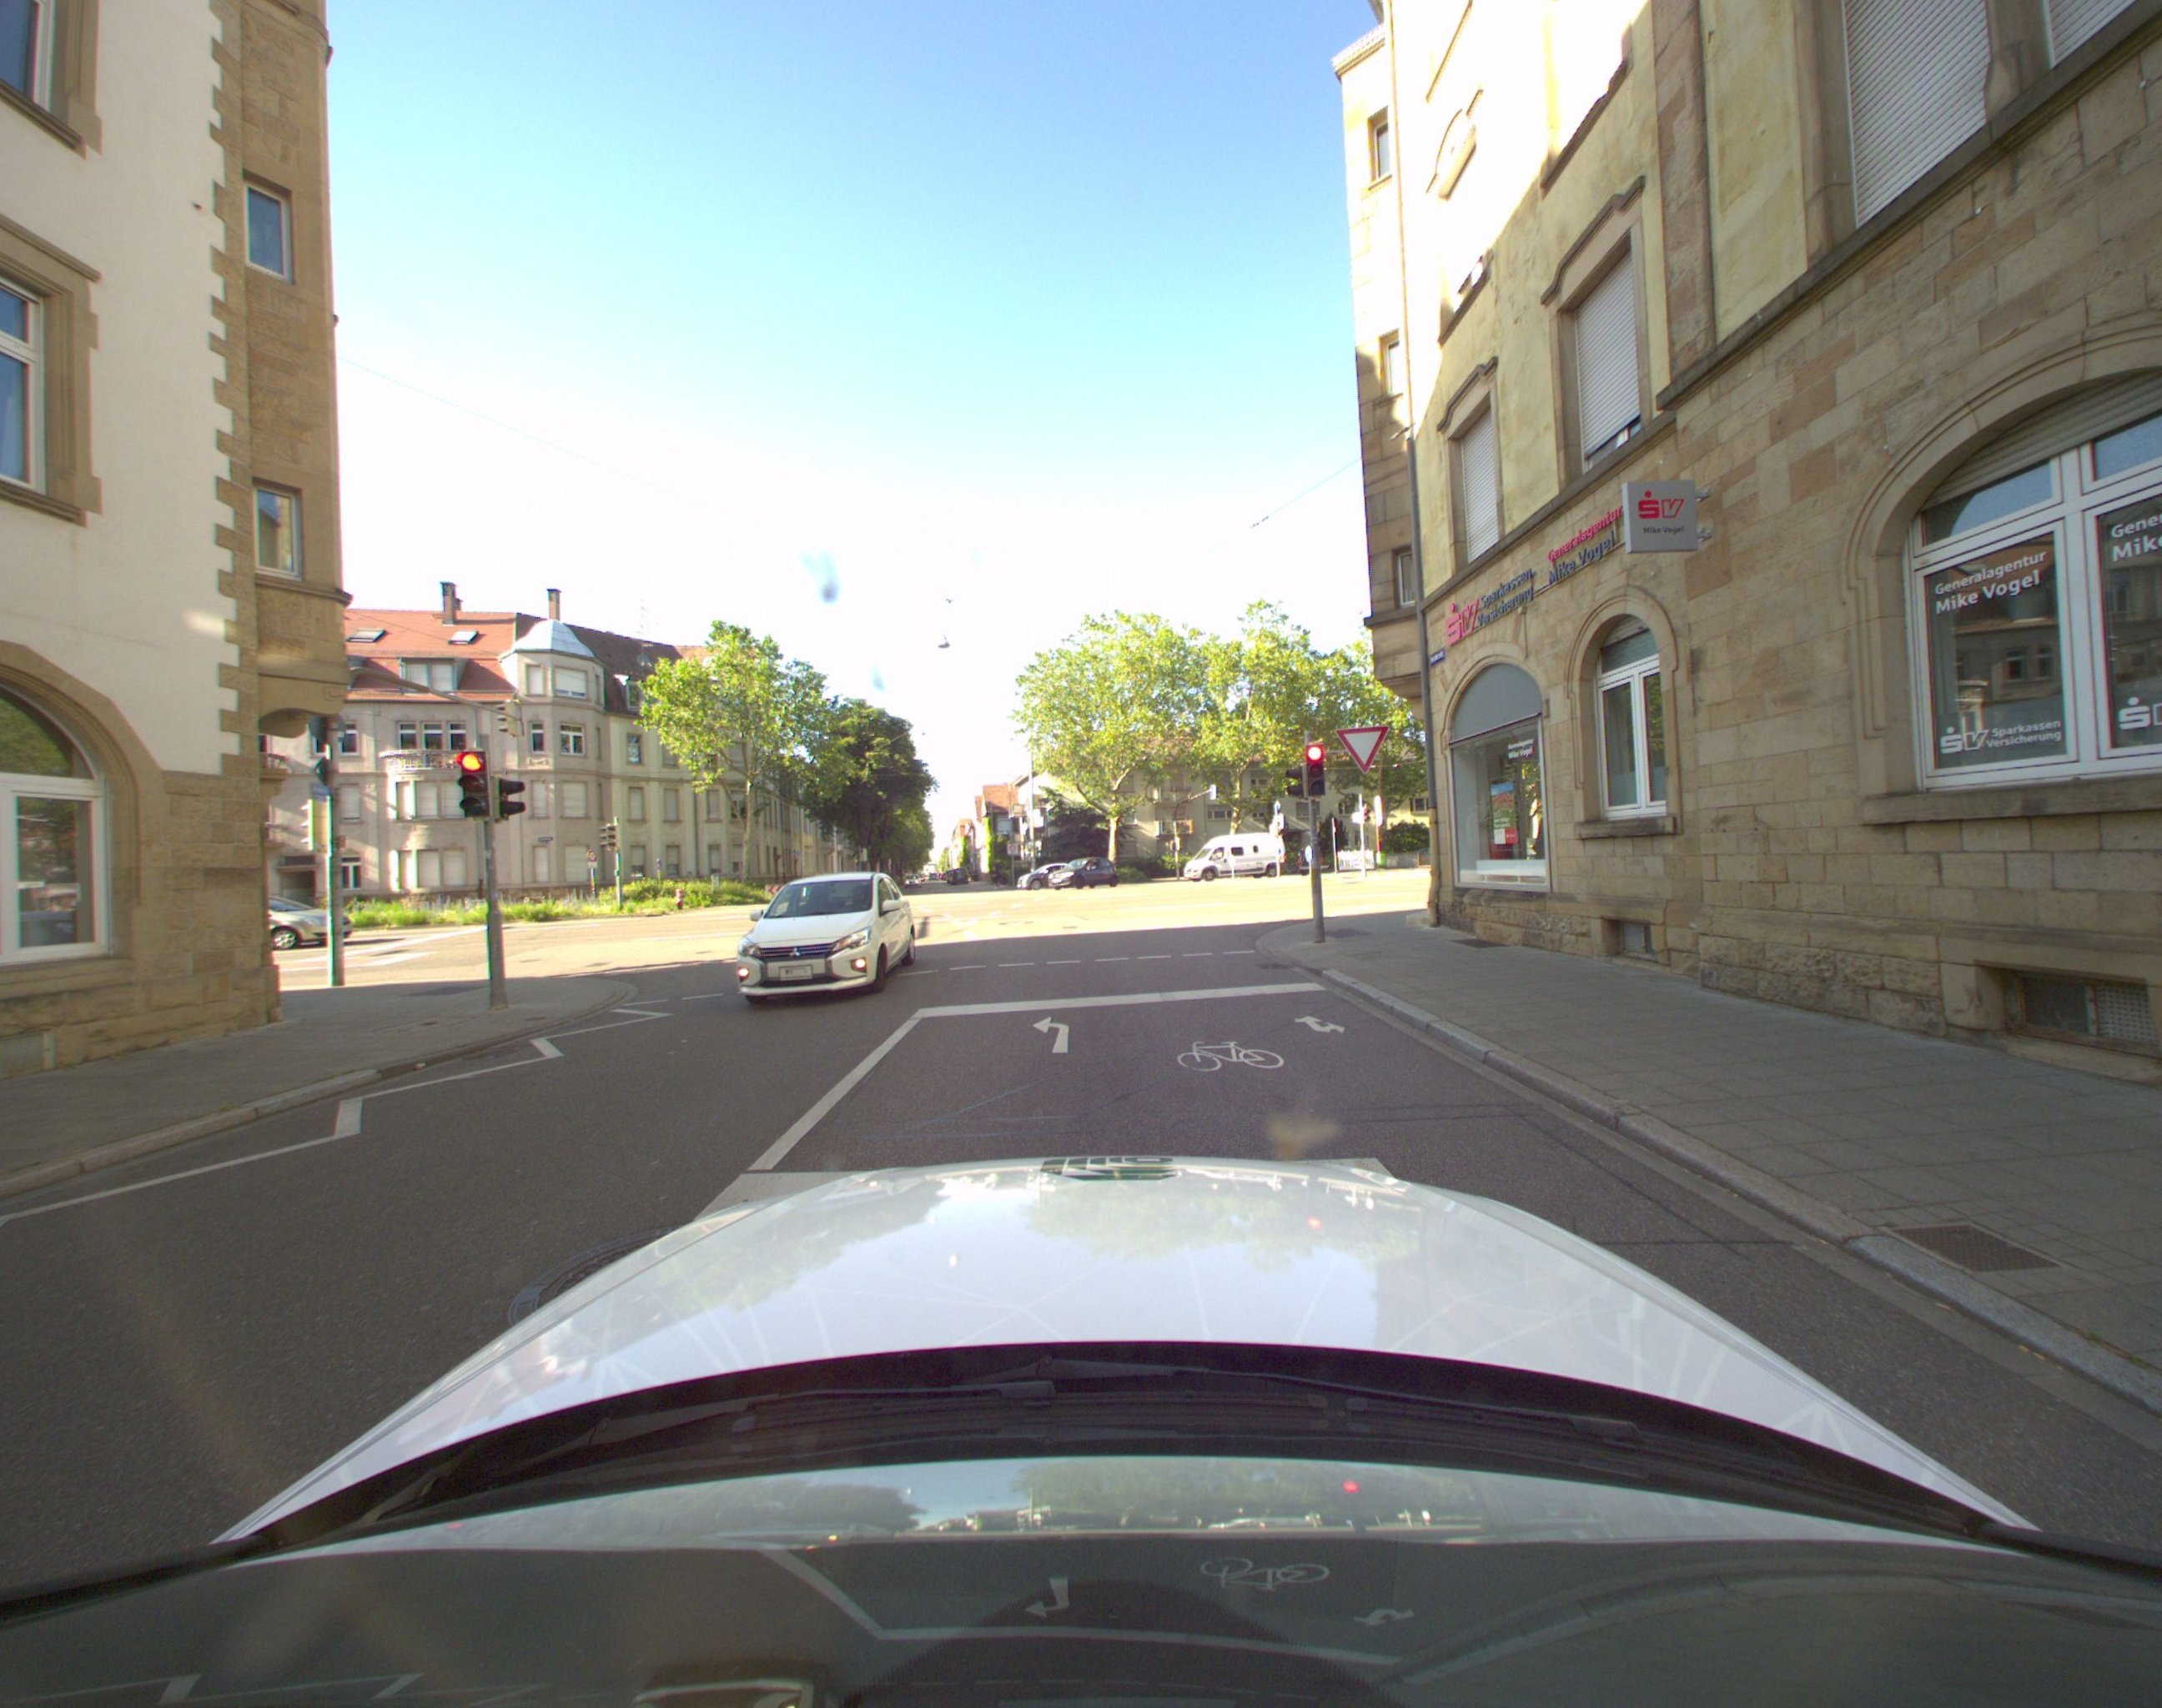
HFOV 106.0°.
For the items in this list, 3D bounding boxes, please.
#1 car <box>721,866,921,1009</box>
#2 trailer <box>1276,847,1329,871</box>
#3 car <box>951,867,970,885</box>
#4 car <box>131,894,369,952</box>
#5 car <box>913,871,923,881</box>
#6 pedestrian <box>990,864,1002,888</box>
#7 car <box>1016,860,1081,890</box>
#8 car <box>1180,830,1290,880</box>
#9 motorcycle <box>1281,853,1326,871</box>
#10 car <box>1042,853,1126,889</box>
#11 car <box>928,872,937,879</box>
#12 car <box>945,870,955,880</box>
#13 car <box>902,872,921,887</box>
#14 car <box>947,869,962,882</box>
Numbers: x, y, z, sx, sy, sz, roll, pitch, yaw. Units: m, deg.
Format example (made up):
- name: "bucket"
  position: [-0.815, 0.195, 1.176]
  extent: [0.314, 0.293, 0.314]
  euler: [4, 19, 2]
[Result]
- name: "car"
  position: [-3.288, 0.959, 11.050]
  extent: [1.621, 1.472, 3.794]
  euler: [-3, 0, -4]
- name: "trailer"
  position: [13.356, 0.314, 49.131]
  extent: [2.747, 1.311, 1.263]
  euler: [-3, 0, -17]
- name: "car"
  position: [-14.031, 2.548, 95.185]
  extent: [1.992, 2.013, 3.989]
  euler: [-3, 0, -8]
- name: "car"
  position: [-21.776, 1.767, 21.550]
  extent: [3.995, 1.319, 1.812]
  euler: [0, -1, -16]
- name: "car"
  position: [-29.207, 3.866, 145.906]
  extent: [1.546, 1.632, 3.224]
  euler: [-3, 0, -9]
- name: "pedestrian"
  position: [-6.319, 1.602, 60.411]
  extent: [0.638, 1.750, 0.651]
  euler: [-1, -2, -38]
- name: "car"
  position: [-1.882, 1.190, 47.180]
  extent: [3.391, 1.487, 1.515]
  euler: [-3, 0, -20]
- name: "car"
  position: [9.075, 0.035, 47.980]
  extent: [6.054, 2.568, 1.989]
  euler: [-3, 0, -17]
- name: "motorcycle"
  position: [16.469, 0.595, 60.342]
  extent: [2.868, 1.178, 1.470]
  euler: [-3, 0, -15]
- name: "car"
  position: [0.203, 0.794, 38.861]
  extent: [1.638, 1.451, 4.025]
  euler: [-3, 0, 43]
- name: "car"
  position: [-31.095, 4.501, 170.796]
  extent: [1.673, 1.483, 3.511]
  euler: [-2, -1, -8]
- name: "car"
  position: [-23.687, 3.764, 147.005]
  extent: [1.639, 1.632, 3.270]
  euler: [-3, 0, -9]
- name: "car"
  position: [-18.777, 2.839, 90.259]
  extent: [1.995, 1.445, 3.983]
  euler: [-3, 0, -12]
- name: "car"
  position: [-19.567, 3.305, 126.053]
  extent: [1.996, 1.833, 3.980]
  euler: [-1, -1, -14]
